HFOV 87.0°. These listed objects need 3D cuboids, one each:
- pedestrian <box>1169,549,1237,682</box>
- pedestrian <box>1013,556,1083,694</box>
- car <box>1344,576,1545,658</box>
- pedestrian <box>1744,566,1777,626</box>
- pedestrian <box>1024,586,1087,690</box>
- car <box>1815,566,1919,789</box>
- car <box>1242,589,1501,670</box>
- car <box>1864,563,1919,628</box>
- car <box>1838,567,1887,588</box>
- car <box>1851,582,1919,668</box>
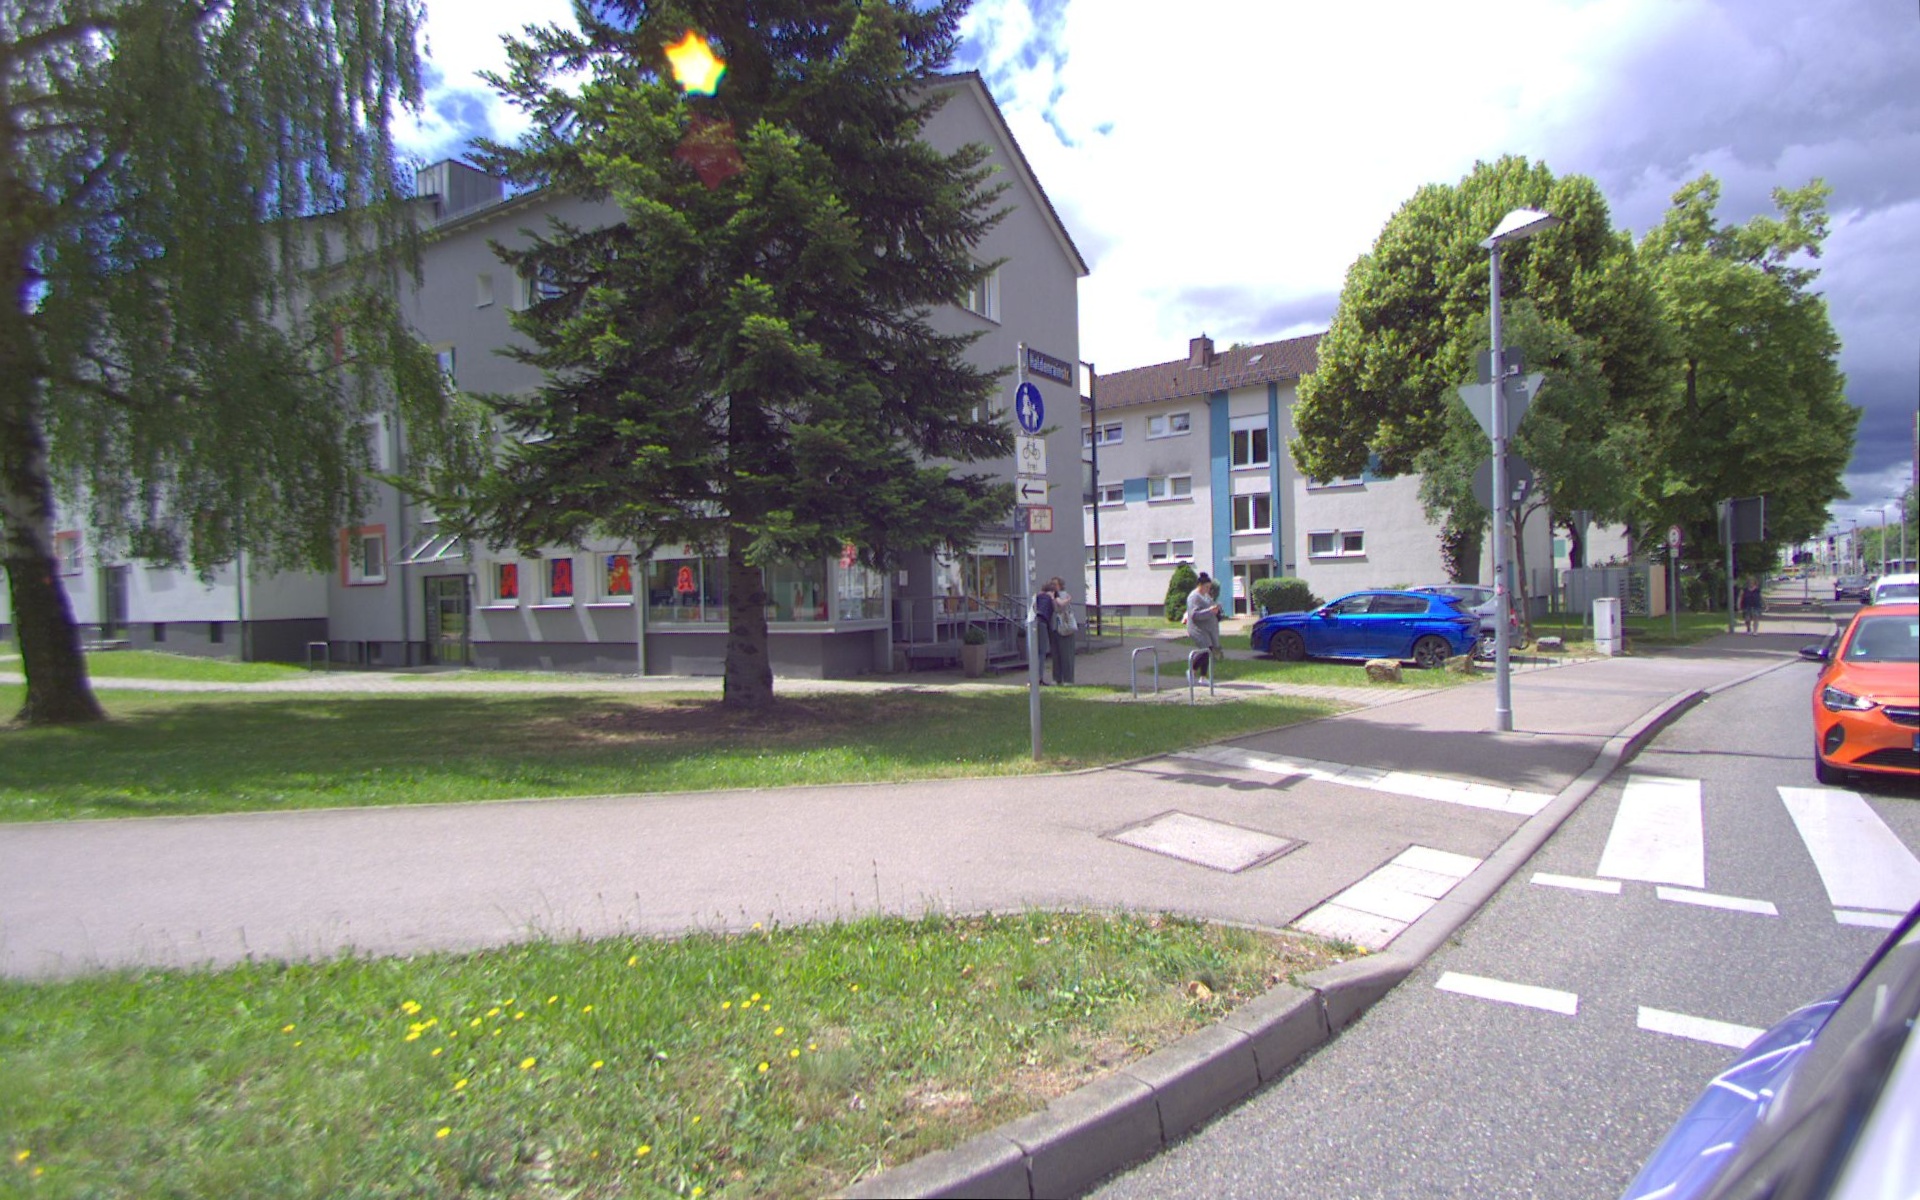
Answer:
[{"bbox_3d":[3.726,0.228,15.590,0.927,1.981,0.840,-1,1,9],"label":"pedestrian"},{"bbox_3d":[1.360,0.360,15.556,0.651,2.039,1.035,0,1,32],"label":"pedestrian"},{"bbox_3d":[10.590,0.290,22.156,3.716,1.576,2.007,2,2,34],"label":"car"},{"bbox_3d":[22.842,-0.124,28.888,0.680,1.681,0.821,0,1,35],"label":"pedestrian"},{"bbox_3d":[1.484,0.571,15.704,0.739,1.549,0.683,0,1,33],"label":"pedestrian"},{"bbox_3d":[8.575,0.510,8.600,1.760,1.577,3.939,-3,0,43],"label":"car"},{"bbox_3d":[8.083,0.505,19.978,4.464,1.259,1.978,2,2,32],"label":"car"},{"bbox_3d":[25.359,-0.157,26.697,1.990,1.627,3.945,0,1,39],"label":"car"},{"bbox_3d":[58.673,-1.468,65.784,3.932,1.333,1.916,-2,2,-42],"label":"car"},{"bbox_3d":[17.985,0.403,18.746,3.932,1.415,1.762,-2,2,-42],"label":"car"}]
